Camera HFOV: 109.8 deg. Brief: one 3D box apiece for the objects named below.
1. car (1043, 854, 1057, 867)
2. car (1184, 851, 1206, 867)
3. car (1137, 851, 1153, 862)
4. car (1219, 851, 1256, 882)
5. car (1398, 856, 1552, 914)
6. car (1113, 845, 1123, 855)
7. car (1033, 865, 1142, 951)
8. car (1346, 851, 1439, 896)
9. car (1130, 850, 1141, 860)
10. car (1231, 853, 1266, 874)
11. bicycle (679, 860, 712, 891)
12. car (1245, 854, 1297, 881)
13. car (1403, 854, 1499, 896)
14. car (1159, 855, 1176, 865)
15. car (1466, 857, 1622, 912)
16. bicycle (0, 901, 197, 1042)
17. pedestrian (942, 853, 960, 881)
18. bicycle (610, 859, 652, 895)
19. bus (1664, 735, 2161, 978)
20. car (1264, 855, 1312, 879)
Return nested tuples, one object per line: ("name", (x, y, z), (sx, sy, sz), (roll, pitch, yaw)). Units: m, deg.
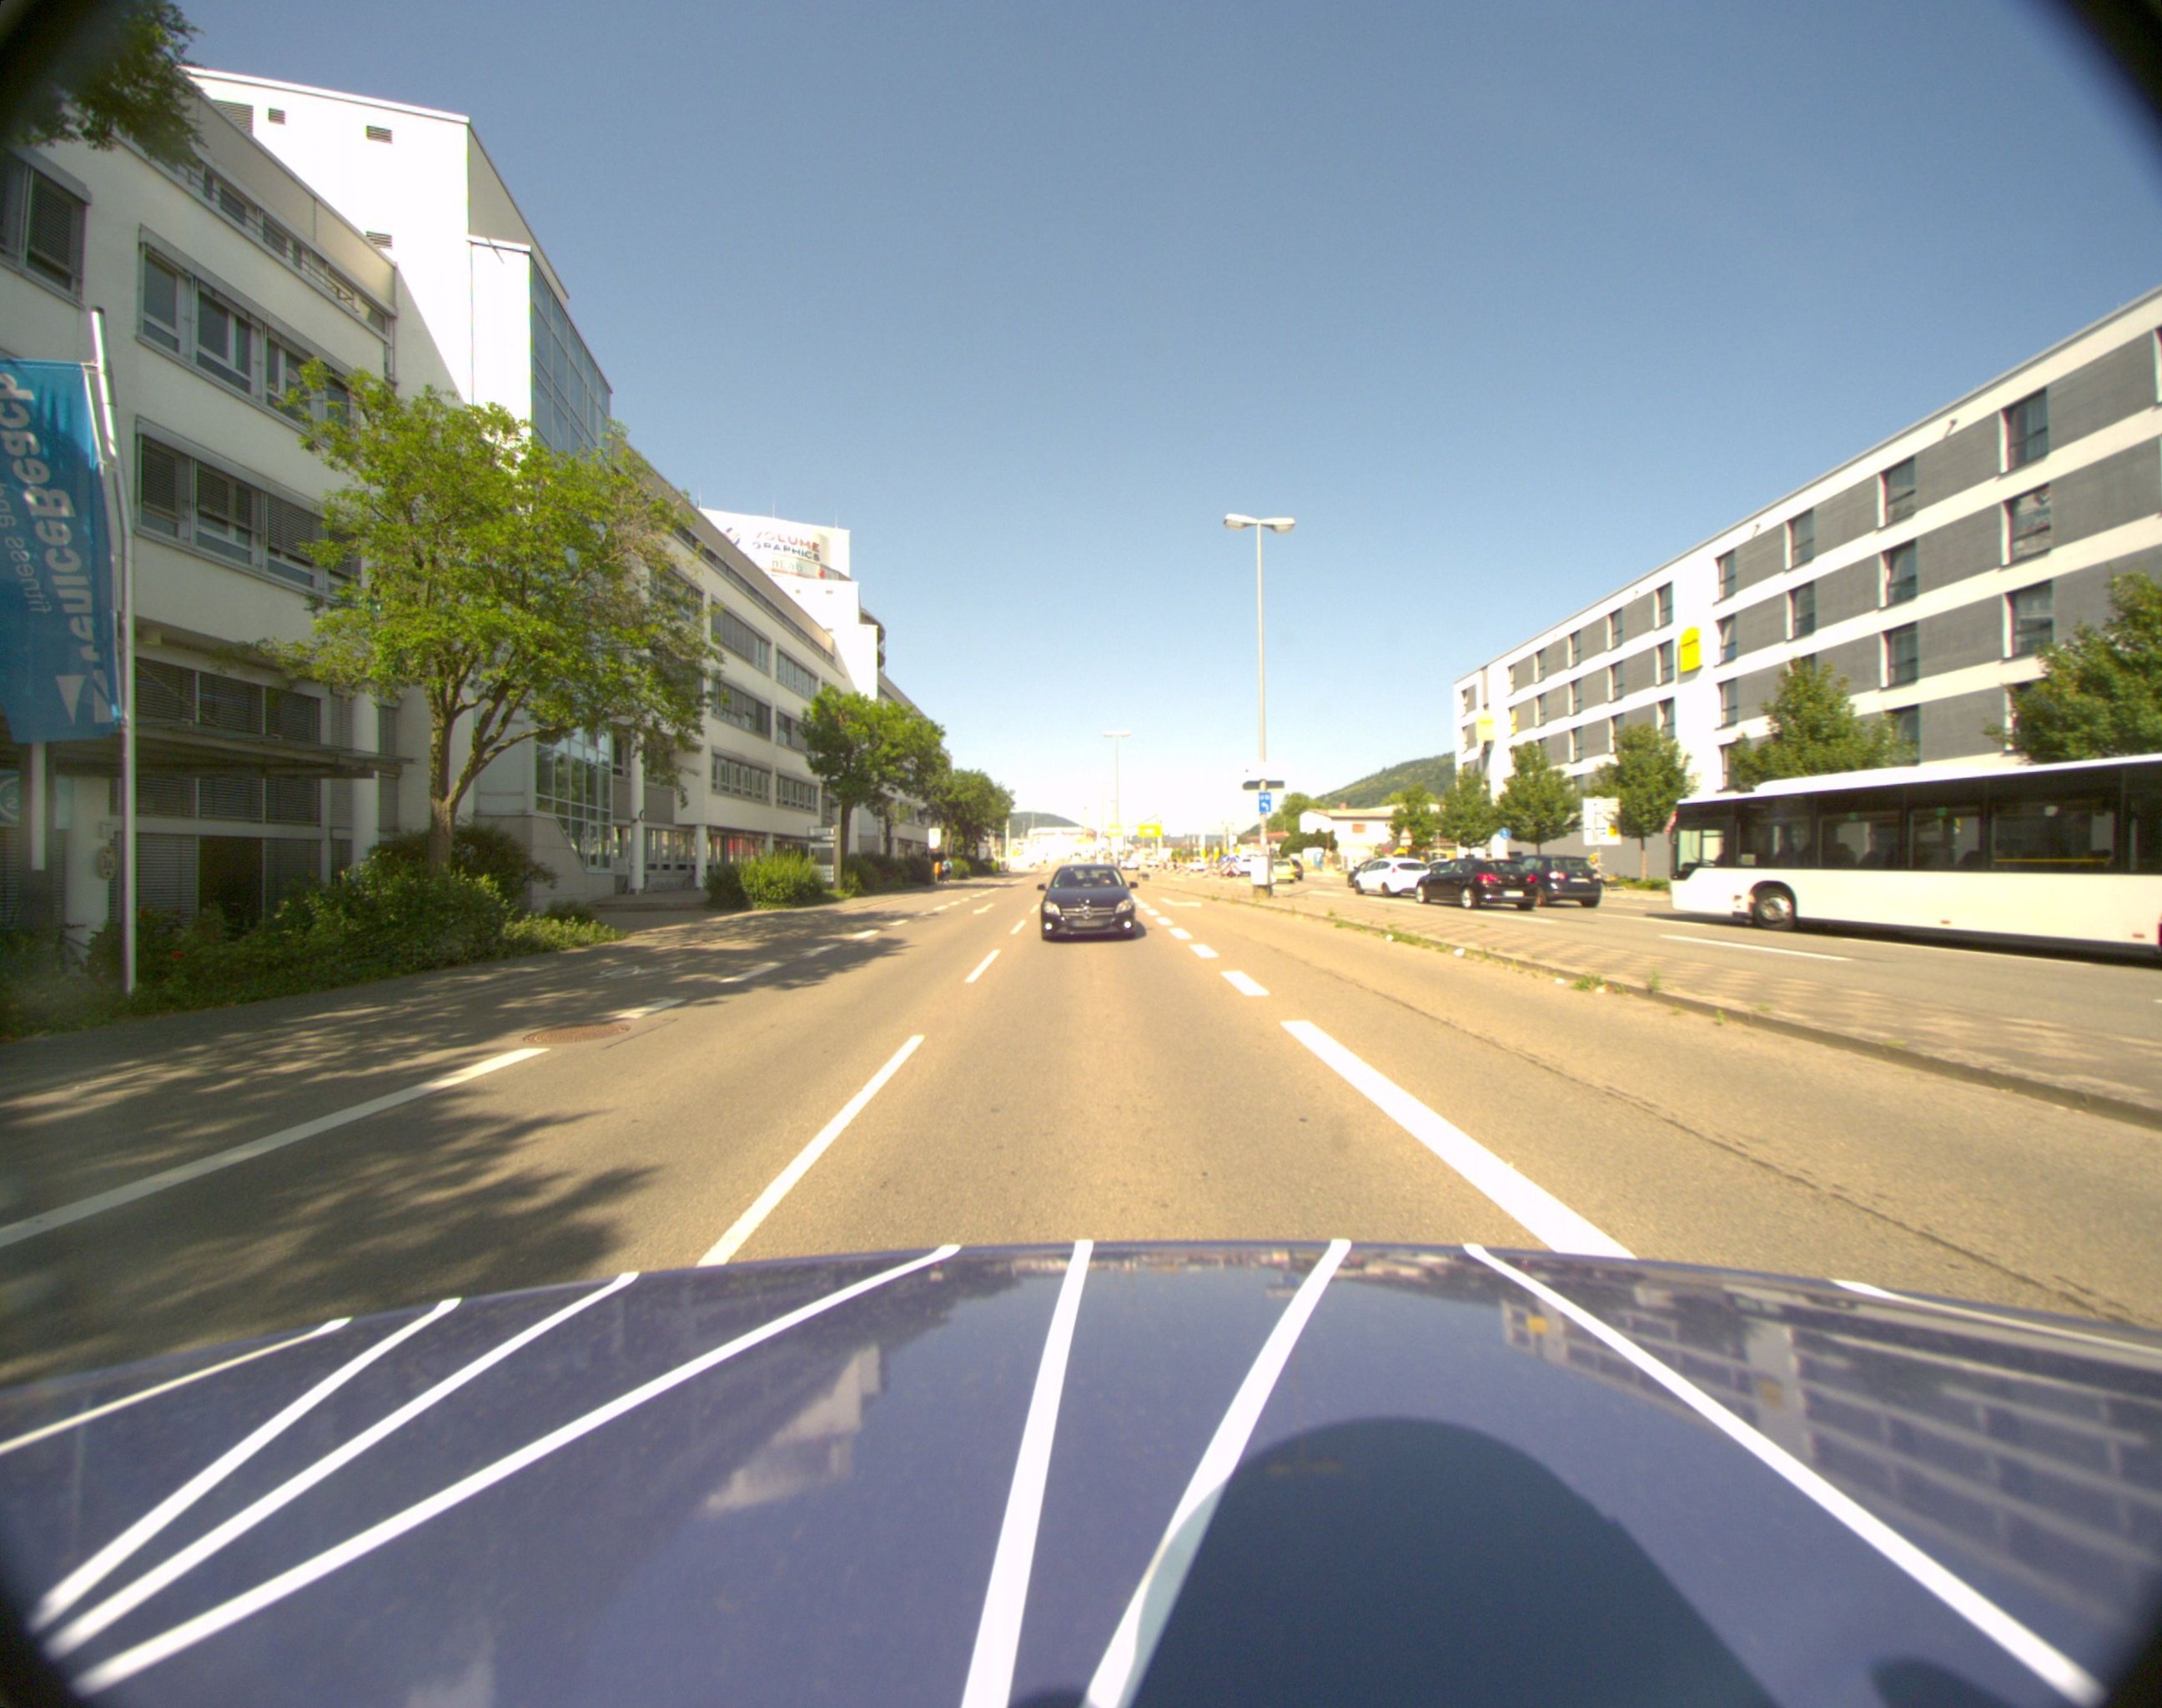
("car", (-5.345, 1.067, 130.639), (1.998, 2.002, 4.000), (-2, 1, 2))
("car", (13.815, 0.594, 92.338), (1.999, 2.002, 4.000), (0, 0, -1))
("car", (10.706, 0.415, 128.100), (1.999, 1.725, 3.998), (-1, 0, -5))
("car", (10.822, 0.817, 52.912), (1.679, 2.002, 4.164), (-2, 1, 1))
("car", (11.413, 0.823, 22.470), (1.998, 1.424, 4.890), (-1, 1, 0))
("car", (7.865, -0.882, 161.691), (1.998, 2.002, 3.999), (-2, 1, 1))
("car", (0.140, 0.989, 15.773), (1.905, 1.431, 4.693), (-1, 0, 1))
("car", (11.495, 0.671, 28.319), (1.763, 1.443, 3.999), (-2, 1, 0))
("car", (11.381, 0.150, 157.529), (1.998, 2.002, 4.000), (-1, 0, 1))
("car", (14.432, 0.765, 65.584), (1.998, 1.702, 4.891), (-1, 0, 1))
("bicycle", (-17.668, 0.956, 34.844), (0.506, 1.346, 1.884), (-1, 0, 1))
("car", (11.497, 0.779, 46.348), (1.998, 1.514, 4.891), (-1, 0, 1))
("car", (14.633, 0.799, 30.296), (1.858, 1.529, 3.978), (1, -1, 0))
("car", (12.442, 0.831, 109.664), (1.815, 1.328, 3.937), (-1, 0, -3))
("car", (14.444, 0.879, 24.122), (1.998, 1.514, 4.891), (-1, 0, 1))
("bicycle", (-11.211, 1.243, 8.547), (0.506, 1.321, 1.883), (-1, 0, -7))
("pedestrian", (-9.079, 0.877, 52.999), (0.942, 1.875, 1.289), (2, 1, 1))
("bicycle", (-18.016, 0.899, 30.447), (0.506, 1.346, 1.884), (-1, 0, 1))
("bus", (14.965, 0.042, 11.659), (2.745, 3.060, 11.974), (1, 0, 0))
("car", (14.360, 0.876, 52.966), (1.998, 1.514, 4.891), (-1, 0, 1))
